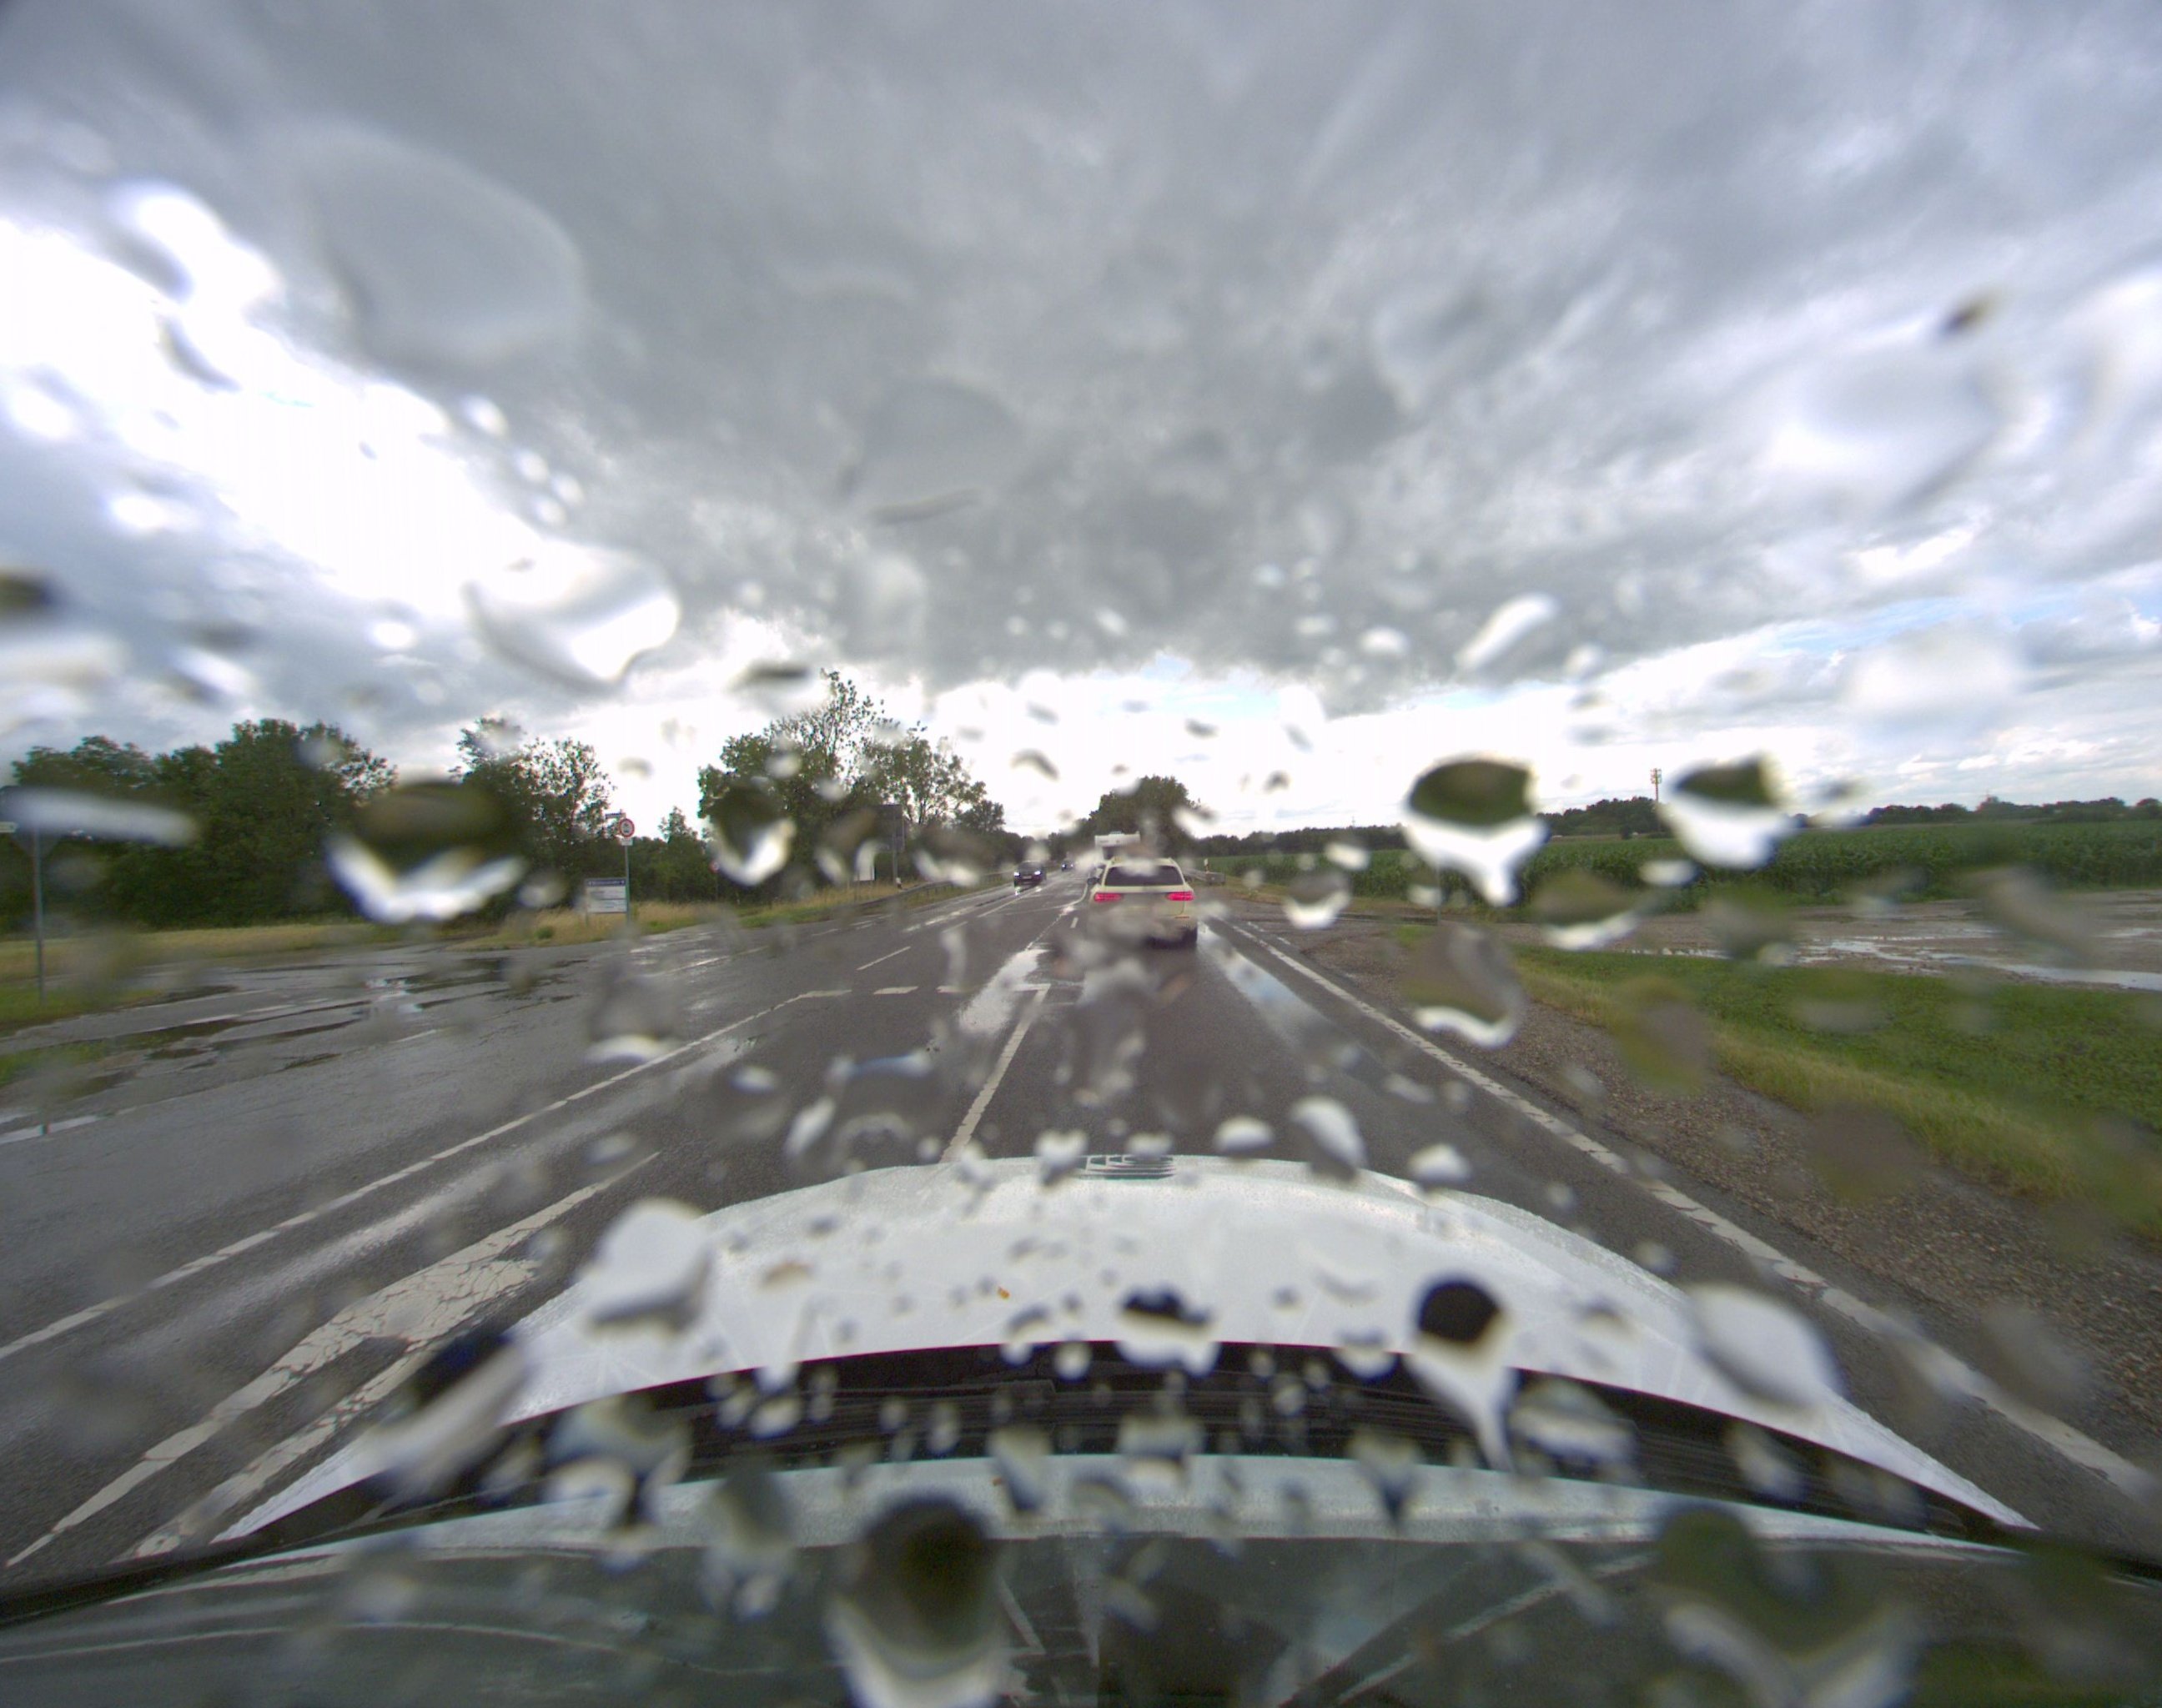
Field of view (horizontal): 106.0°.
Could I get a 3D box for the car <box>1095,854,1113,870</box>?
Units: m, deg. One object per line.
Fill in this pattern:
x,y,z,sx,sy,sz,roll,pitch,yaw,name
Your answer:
2.848,1.005,98.990,1.907,1.841,3.799,-2,0,4,car

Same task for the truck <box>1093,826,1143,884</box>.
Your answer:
1.925,0.066,43.764,2.354,2.729,7.317,-2,0,2,truck

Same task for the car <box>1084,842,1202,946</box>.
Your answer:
1.045,0.644,14.864,1.836,1.618,4.001,-1,0,2,car

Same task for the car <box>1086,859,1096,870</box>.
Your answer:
1.783,1.869,144.674,1.784,1.777,3.722,-2,0,2,car

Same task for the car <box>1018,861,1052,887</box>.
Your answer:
-2.963,1.267,52.992,1.821,1.574,4.002,0,-1,2,car

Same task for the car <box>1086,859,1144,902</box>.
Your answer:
1.242,0.935,30.060,1.986,1.462,4.001,1,-1,2,car

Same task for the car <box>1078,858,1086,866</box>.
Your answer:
0.211,2.012,208.903,1.890,1.895,3.841,-2,0,-1,car

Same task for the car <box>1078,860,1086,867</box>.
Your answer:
0.210,2.352,199.822,1.744,1.662,3.670,-2,0,-2,car

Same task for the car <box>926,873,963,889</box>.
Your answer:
-13.839,2.739,83.099,2.288,1.547,4.645,0,-1,10,car

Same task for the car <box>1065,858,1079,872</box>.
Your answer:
-1.094,1.406,103.893,1.574,1.640,3.442,-2,0,1,car

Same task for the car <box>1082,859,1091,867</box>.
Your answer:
1.294,2.099,190.535,1.733,1.860,3.786,-2,0,2,car

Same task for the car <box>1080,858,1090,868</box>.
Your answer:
0.846,1.951,171.598,1.845,2.013,3.812,-2,0,2,car
